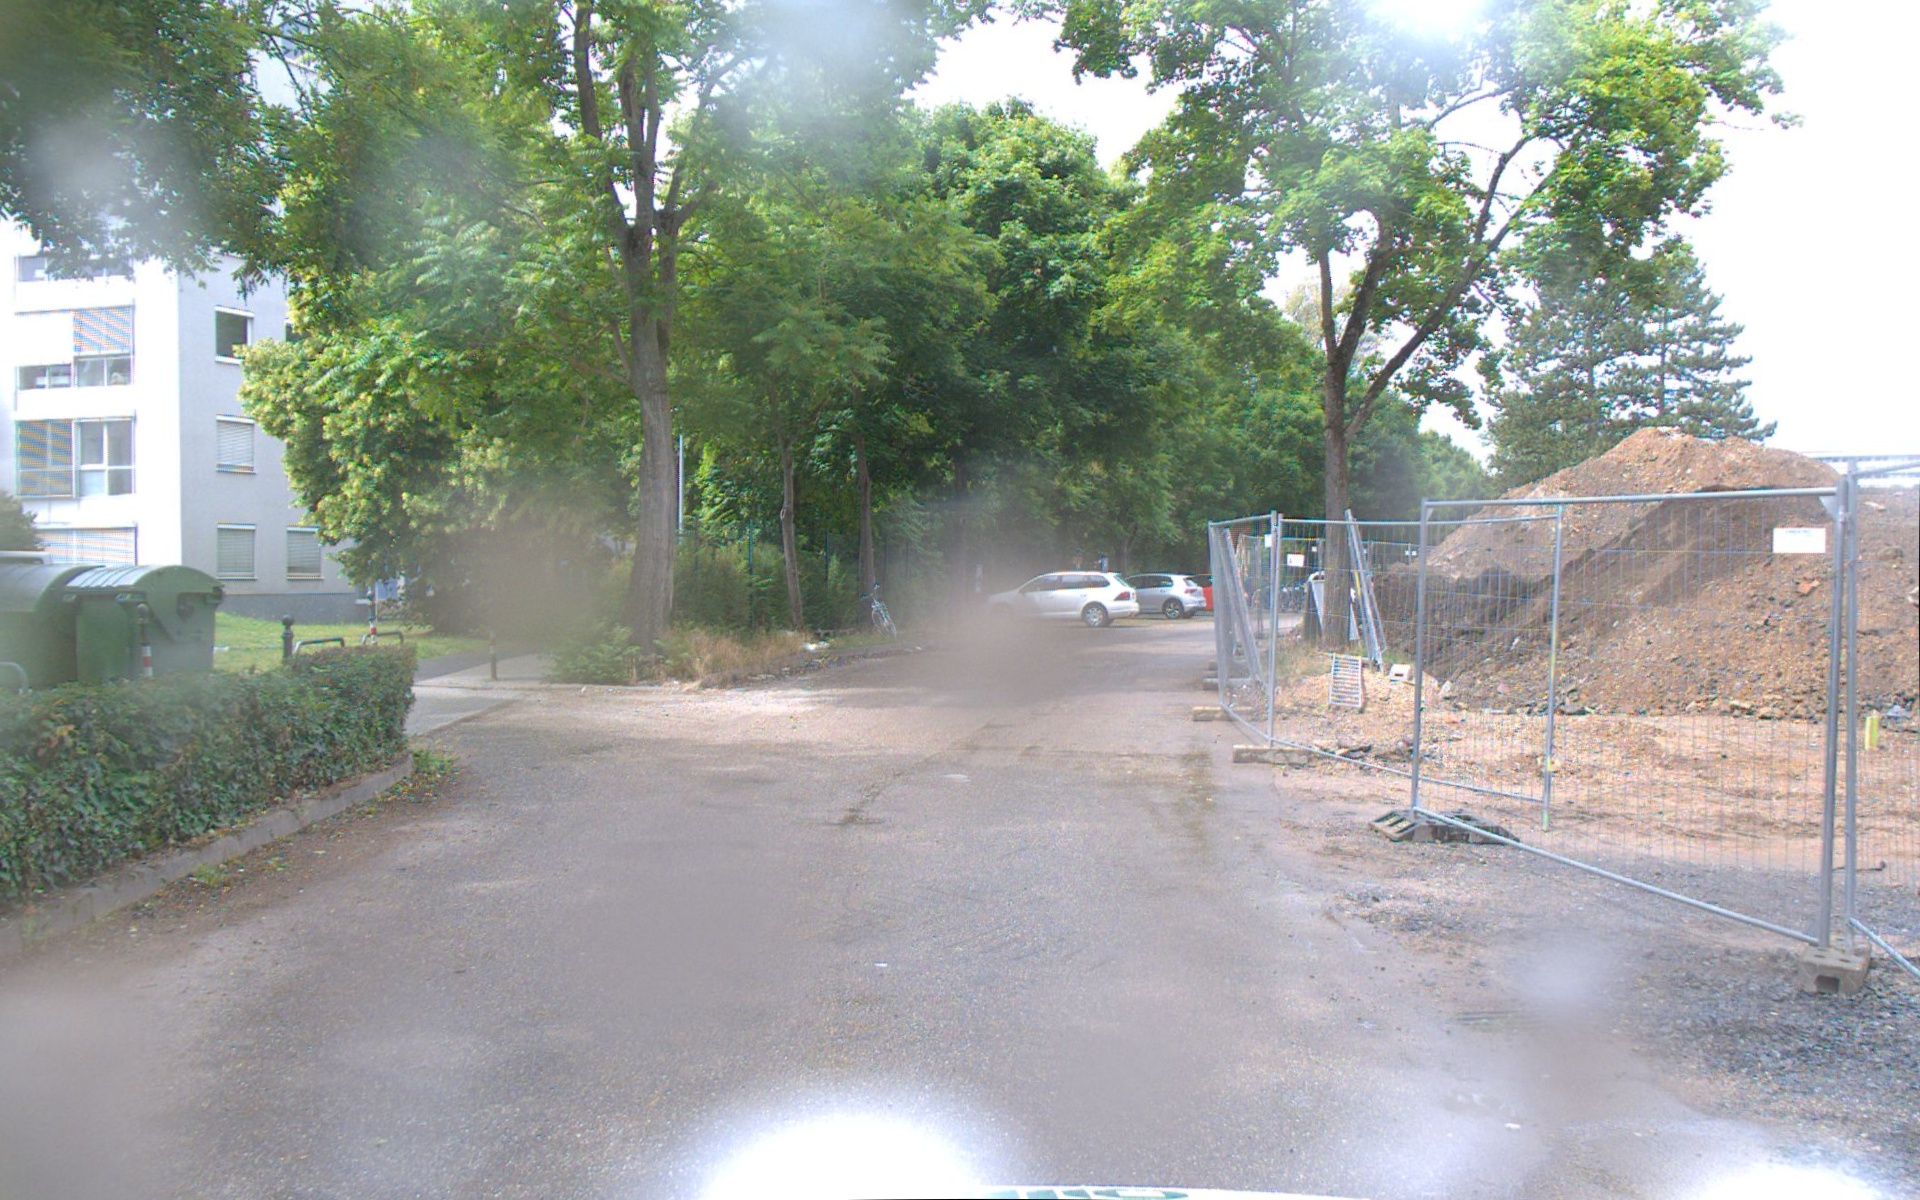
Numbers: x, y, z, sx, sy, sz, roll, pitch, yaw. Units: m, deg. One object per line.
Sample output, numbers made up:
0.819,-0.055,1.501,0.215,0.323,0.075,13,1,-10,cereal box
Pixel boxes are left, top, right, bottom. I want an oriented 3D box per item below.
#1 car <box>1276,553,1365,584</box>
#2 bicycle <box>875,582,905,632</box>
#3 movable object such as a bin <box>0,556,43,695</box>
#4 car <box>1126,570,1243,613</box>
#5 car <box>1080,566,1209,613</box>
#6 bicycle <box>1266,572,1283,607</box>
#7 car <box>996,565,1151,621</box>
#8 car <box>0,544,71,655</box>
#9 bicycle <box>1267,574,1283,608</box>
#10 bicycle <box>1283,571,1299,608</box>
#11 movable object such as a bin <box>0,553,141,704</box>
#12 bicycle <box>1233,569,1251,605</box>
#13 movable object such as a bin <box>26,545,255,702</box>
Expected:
17.644,-1.559,80.998,3.953,1.434,1.981,1,0,23,car
-1.313,0.122,31.222,0.457,0.894,1.571,1,2,1,bicycle
-11.016,0.268,17.896,1.320,1.496,1.363,1,0,23,movable object such as a bin
8.024,-0.301,58.945,3.948,1.434,1.983,1,0,13,car
5.996,-0.328,53.655,3.948,1.434,1.983,1,0,13,car
11.939,-0.376,62.754,0.583,1.289,2.671,1,0,11,bicycle
3.117,-0.173,45.044,3.948,1.434,1.983,1,0,13,car
-19.049,-0.001,29.999,1.954,2.049,4.948,0,0,26,car
12.733,-0.361,66.884,0.583,1.331,2.671,1,0,11,bicycle
12.542,-0.382,62.649,0.583,1.331,2.671,1,0,11,bicycle
-9.689,0.283,17.339,1.430,1.496,1.363,1,0,23,movable object such as a bin
10.760,-0.490,62.985,0.583,1.331,2.671,1,0,11,bicycle
-8.284,0.223,16.763,1.524,1.496,1.413,1,0,23,movable object such as a bin
